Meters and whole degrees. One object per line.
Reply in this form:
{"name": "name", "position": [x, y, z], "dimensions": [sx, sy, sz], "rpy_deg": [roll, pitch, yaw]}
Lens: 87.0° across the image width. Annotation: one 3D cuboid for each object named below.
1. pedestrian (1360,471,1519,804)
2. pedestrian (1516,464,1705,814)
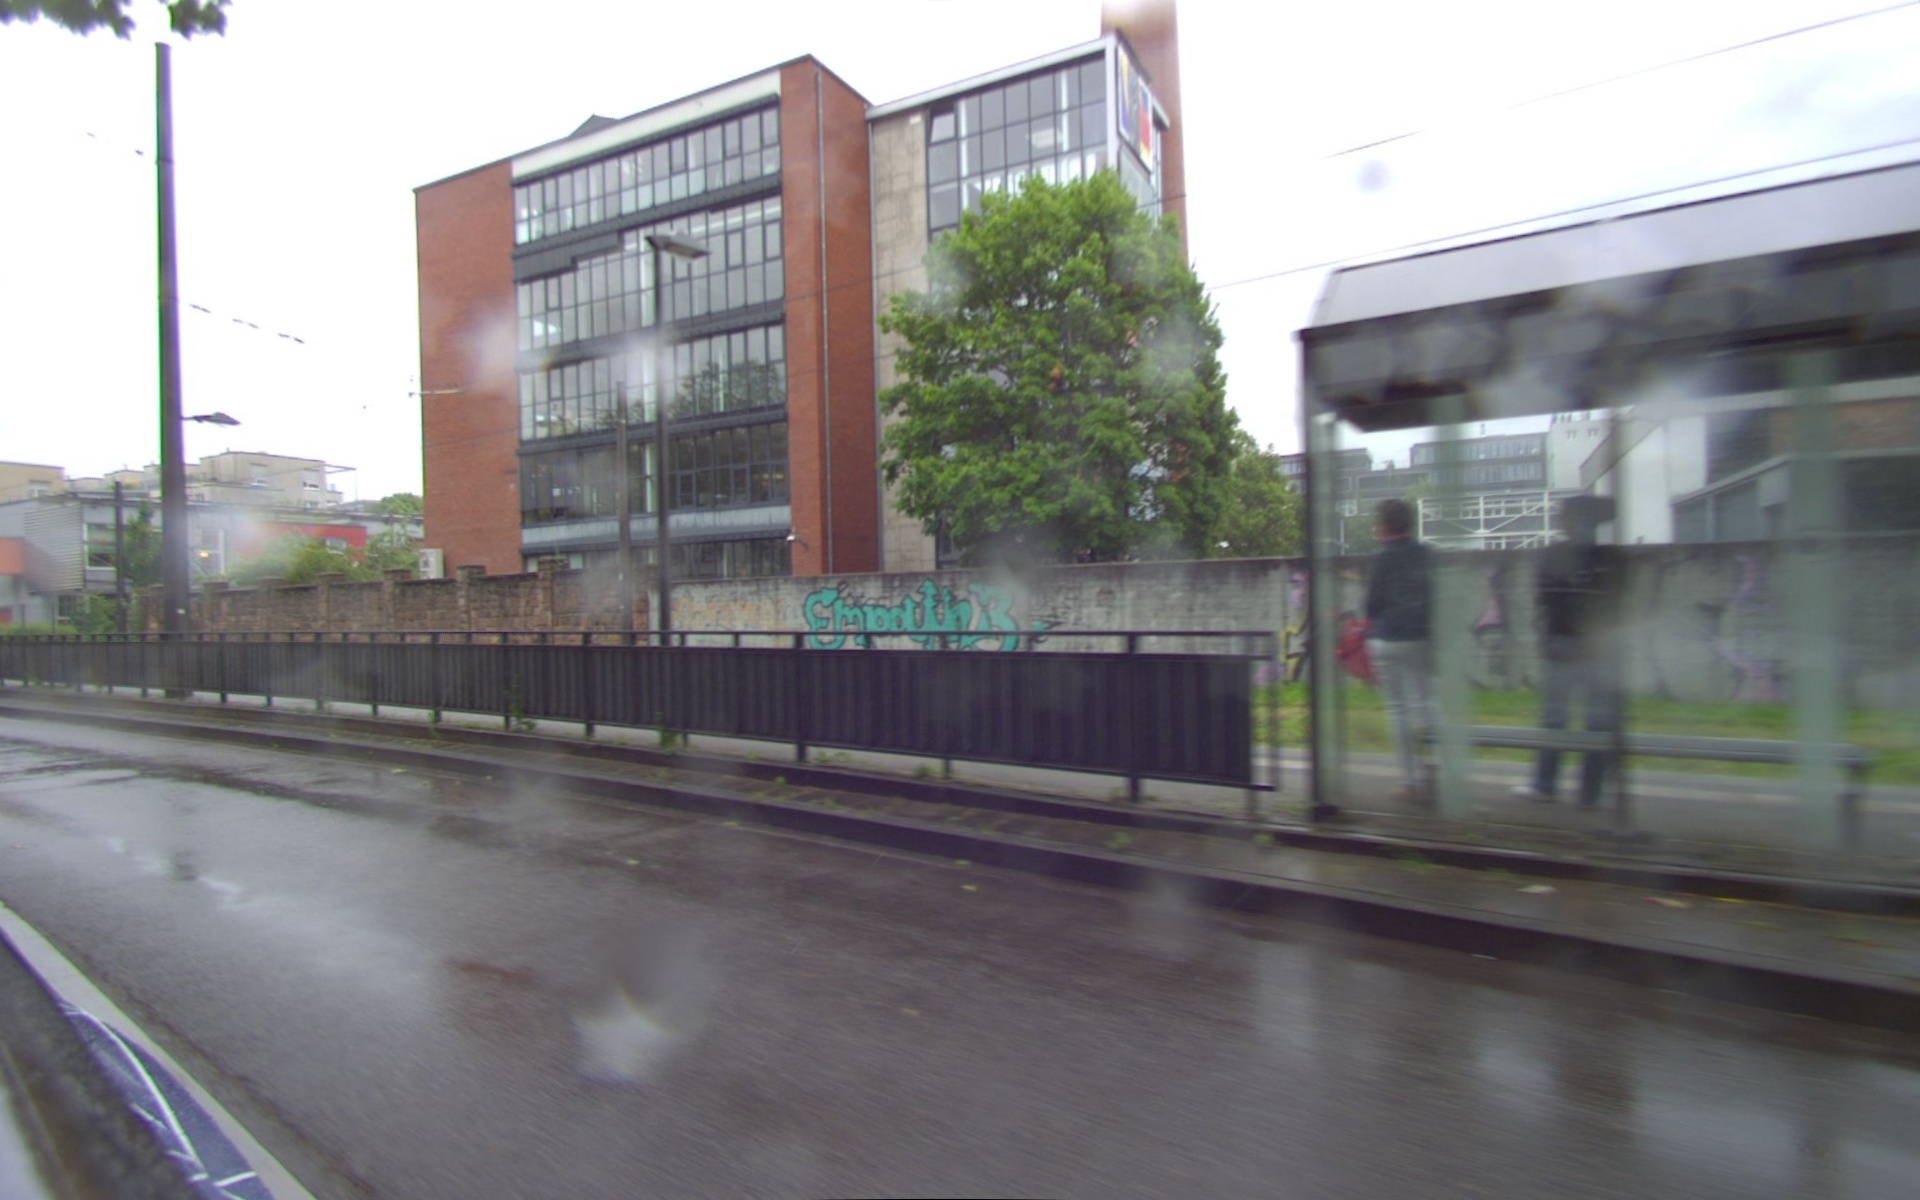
{"name": "pedestrian", "position": [2.633, 0.200, 5.613], "dimensions": [0.560, 1.744, 0.582], "rpy_deg": [-1, -2, 1]}
{"name": "pedestrian", "position": [3.415, 0.200, 5.359], "dimensions": [0.560, 1.744, 0.583], "rpy_deg": [-1, -2, -1]}
